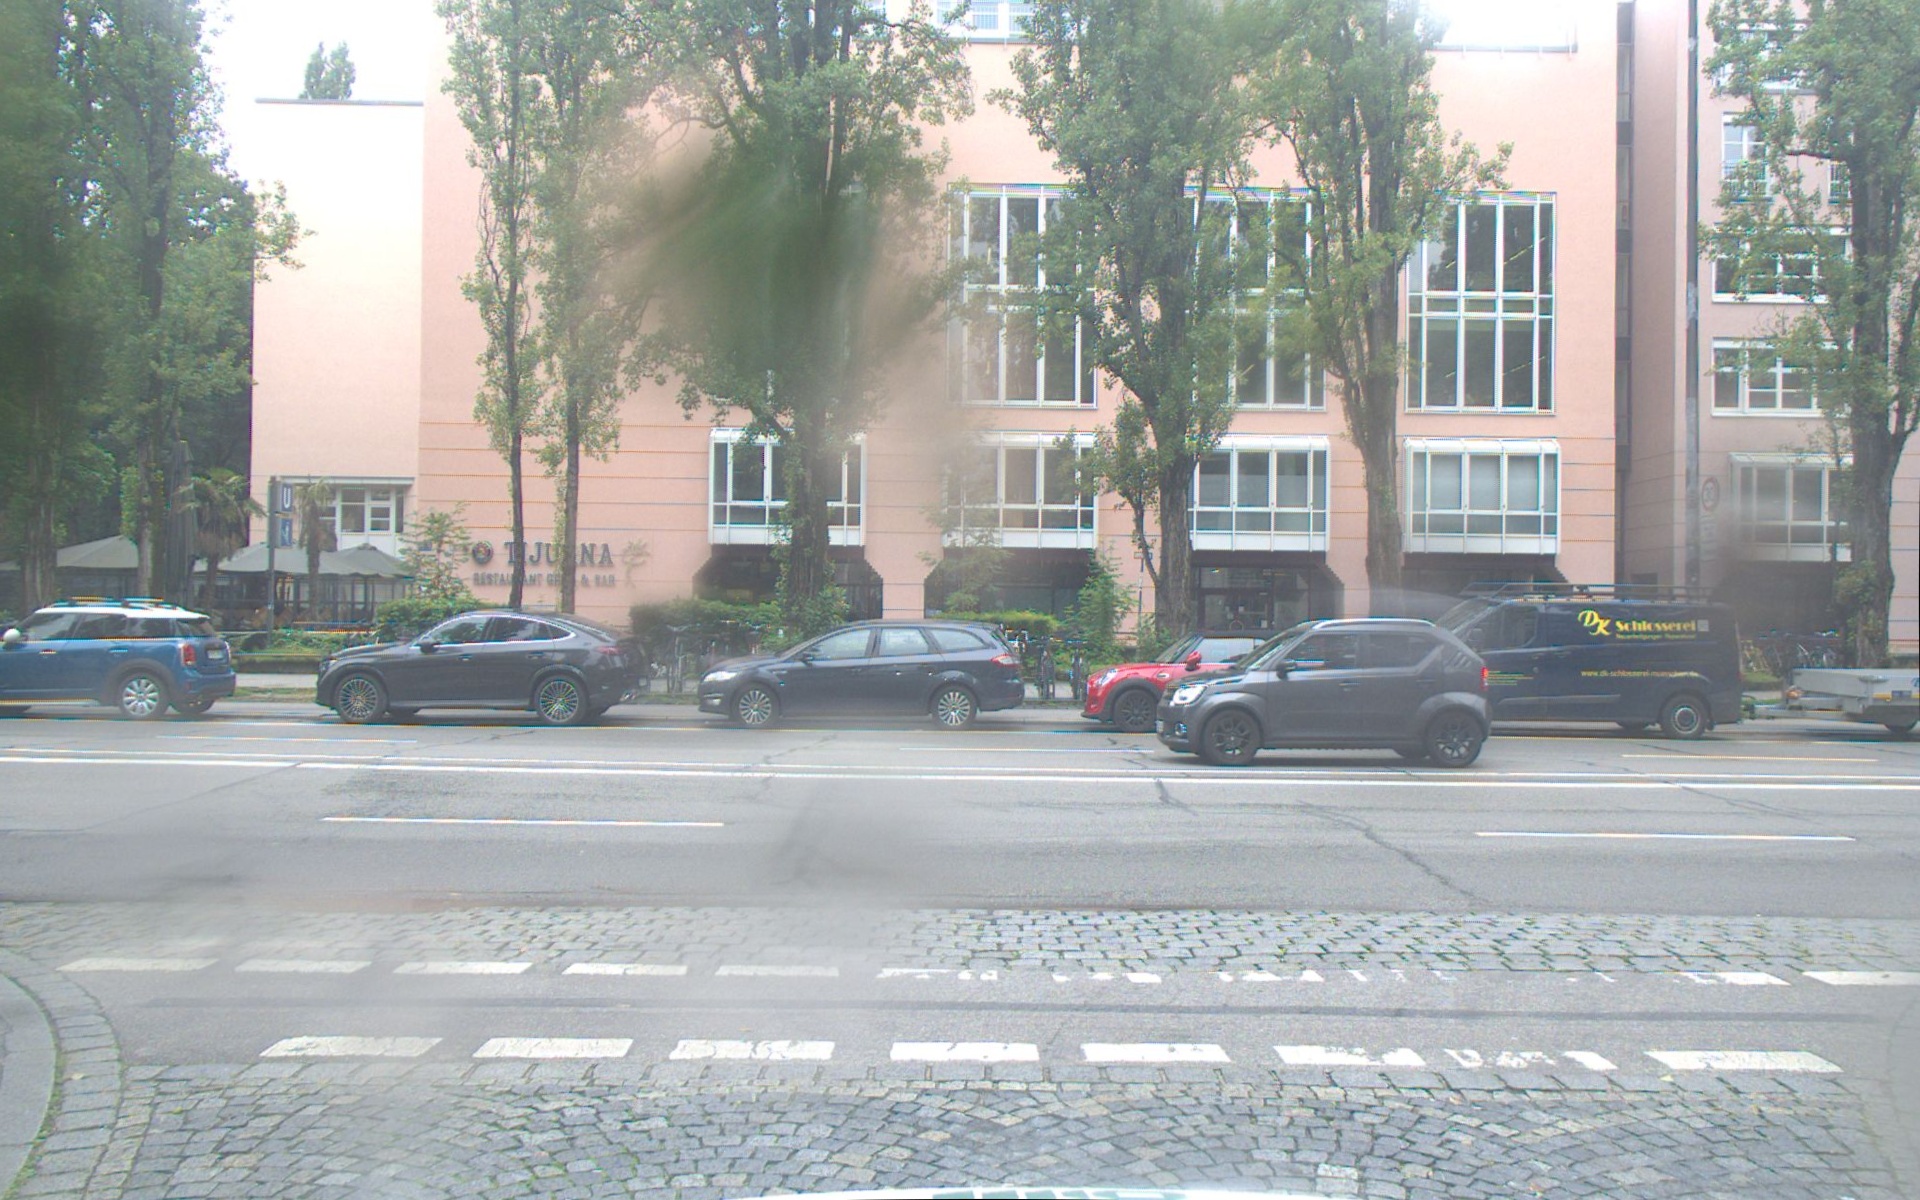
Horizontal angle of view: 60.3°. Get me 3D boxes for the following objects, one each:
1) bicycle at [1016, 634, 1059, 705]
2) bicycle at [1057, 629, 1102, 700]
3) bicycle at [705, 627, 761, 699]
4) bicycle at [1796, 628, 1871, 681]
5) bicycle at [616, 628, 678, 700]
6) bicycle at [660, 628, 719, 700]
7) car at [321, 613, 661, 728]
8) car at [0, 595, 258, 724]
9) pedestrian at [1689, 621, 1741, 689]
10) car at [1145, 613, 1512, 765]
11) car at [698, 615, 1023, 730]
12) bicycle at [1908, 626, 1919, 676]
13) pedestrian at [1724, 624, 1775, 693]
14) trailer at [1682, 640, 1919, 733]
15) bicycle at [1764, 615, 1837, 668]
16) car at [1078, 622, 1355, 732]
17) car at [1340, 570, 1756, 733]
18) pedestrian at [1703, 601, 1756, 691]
[{"bbox_3d":[1.309,1.172,28.281,0.660,1.144,1.742,0,0,0],"label":"bicycle"},{"bbox_3d":[2.035,1.079,28.329,0.660,1.144,1.742,0,0,0],"label":"bicycle"},{"bbox_3d":[-3.857,1.048,28.221,0.660,1.144,1.989,0,0,0],"label":"bicycle"},{"bbox_3d":[19.950,1.222,37.813,0.660,1.144,1.989,0,0,0],"label":"bicycle"},{"bbox_3d":[-5.330,1.068,28.255,0.660,1.144,1.989,0,0,0],"label":"bicycle"},{"bbox_3d":[-4.599,1.074,28.243,0.660,1.144,1.989,0,0,0],"label":"bicycle"},{"bbox_3d":[-6.711,0.987,24.013,4.408,1.555,1.793,1,0,-1],"label":"car"},{"bbox_3d":[-12.491,0.842,23.785,3.983,1.762,1.792,1,-2,-2],"label":"car"},{"bbox_3d":[15.678,1.133,34.351,0.699,1.393,0.724,1,0,-30],"label":"pedestrian"},{"bbox_3d":[4.002,0.952,18.391,3.663,1.554,1.849,1,-1,0],"label":"car"},{"bbox_3d":[-1.390,1.026,24.006,4.514,1.555,1.793,1,0,-1],"label":"car"},{"bbox_3d":[22.523,1.190,37.670,0.660,1.144,2.107,0,0,0],"label":"bicycle"},{"bbox_3d":[16.435,1.209,34.424,0.714,1.393,0.709,1,0,0],"label":"pedestrian"},{"bbox_3d":[14.116,1.259,24.405,5.895,1.220,2.405,1,0,0],"label":"trailer"},{"bbox_3d":[19.159,0.932,37.724,0.660,1.144,1.989,0,0,0],"label":"bicycle"},{"bbox_3d":[3.631,1.084,23.886,3.780,1.474,1.679,1,0,2],"label":"car"},{"bbox_3d":[8.482,0.731,24.197,5.367,2.235,2.023,1,0,-1],"label":"car"},{"bbox_3d":[15.170,0.894,32.615,0.714,1.743,0.709,1,0,0],"label":"pedestrian"}]
